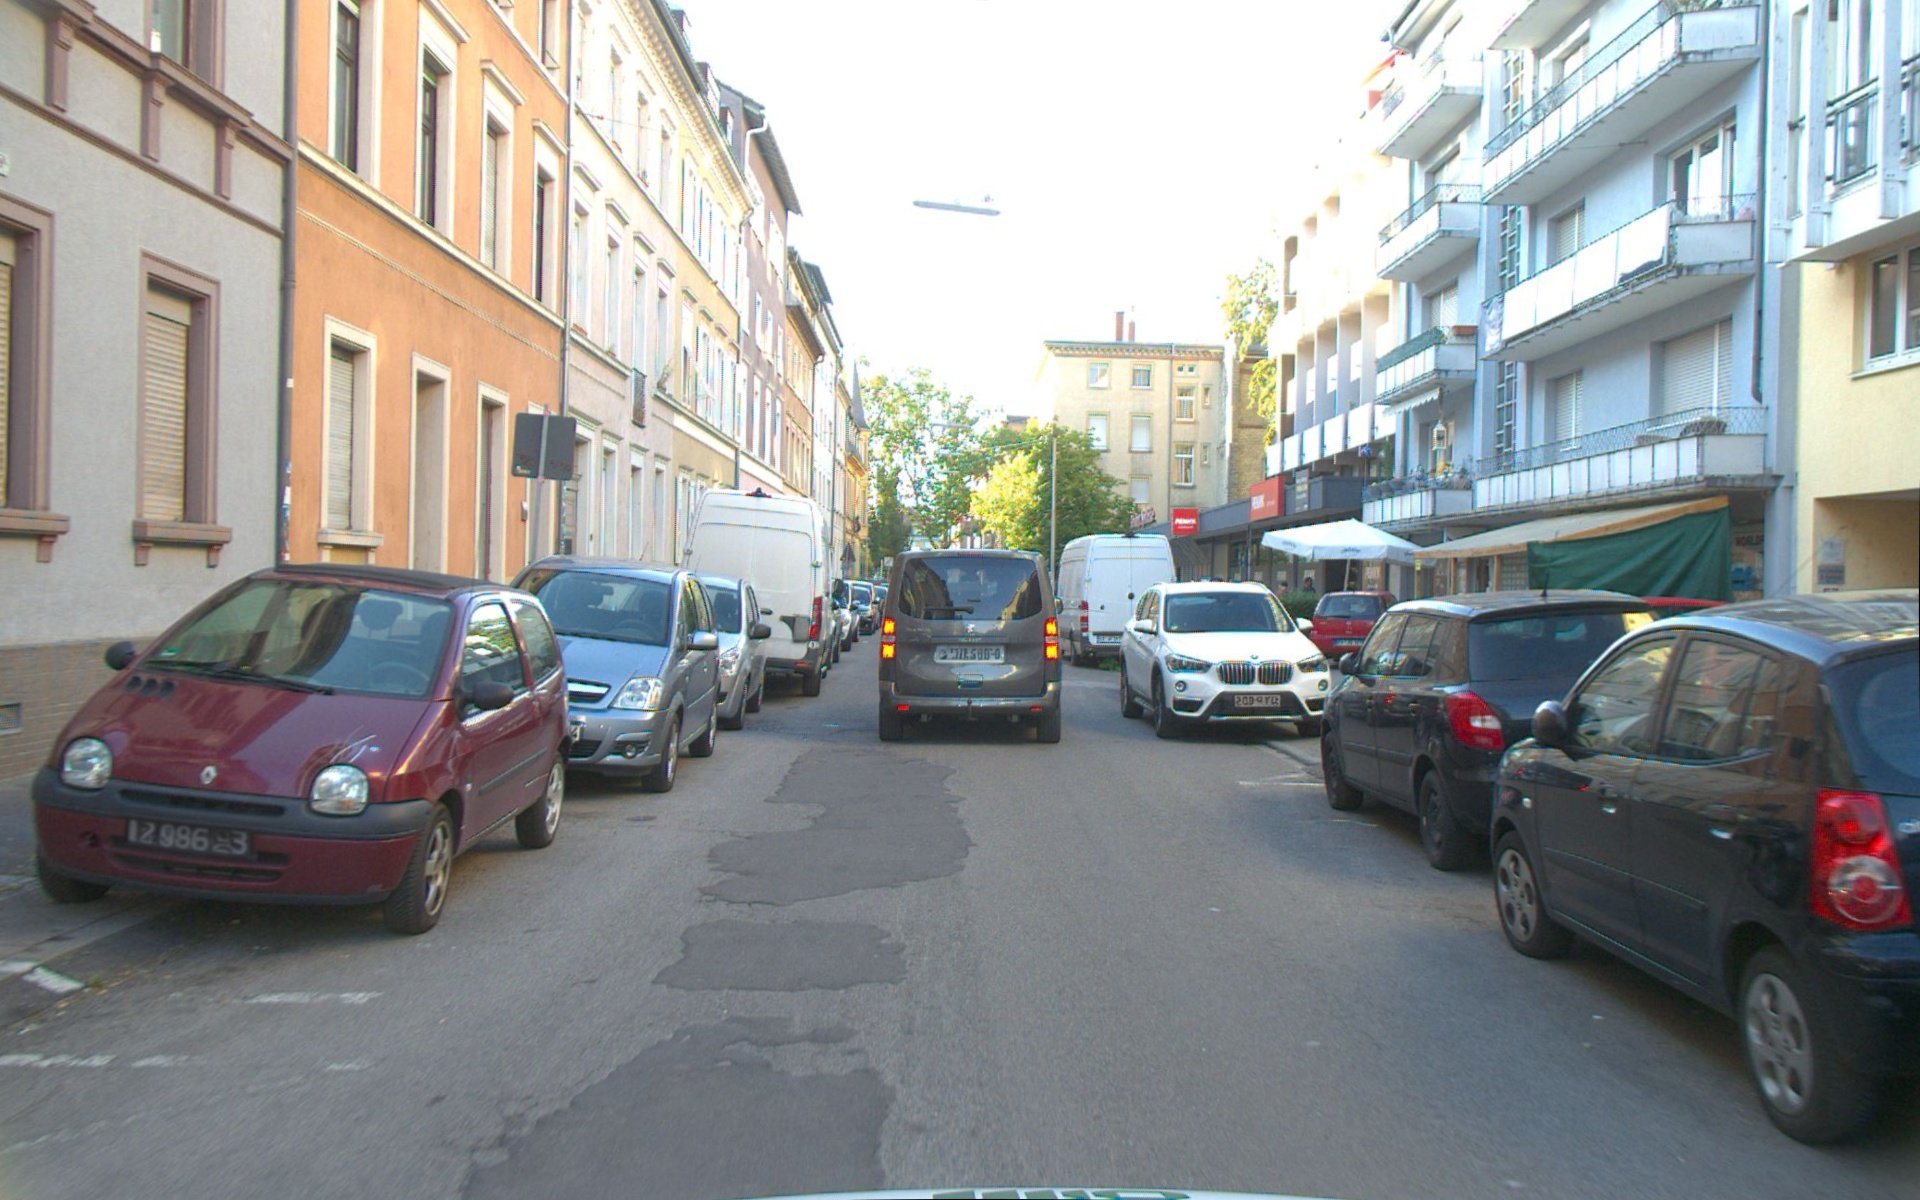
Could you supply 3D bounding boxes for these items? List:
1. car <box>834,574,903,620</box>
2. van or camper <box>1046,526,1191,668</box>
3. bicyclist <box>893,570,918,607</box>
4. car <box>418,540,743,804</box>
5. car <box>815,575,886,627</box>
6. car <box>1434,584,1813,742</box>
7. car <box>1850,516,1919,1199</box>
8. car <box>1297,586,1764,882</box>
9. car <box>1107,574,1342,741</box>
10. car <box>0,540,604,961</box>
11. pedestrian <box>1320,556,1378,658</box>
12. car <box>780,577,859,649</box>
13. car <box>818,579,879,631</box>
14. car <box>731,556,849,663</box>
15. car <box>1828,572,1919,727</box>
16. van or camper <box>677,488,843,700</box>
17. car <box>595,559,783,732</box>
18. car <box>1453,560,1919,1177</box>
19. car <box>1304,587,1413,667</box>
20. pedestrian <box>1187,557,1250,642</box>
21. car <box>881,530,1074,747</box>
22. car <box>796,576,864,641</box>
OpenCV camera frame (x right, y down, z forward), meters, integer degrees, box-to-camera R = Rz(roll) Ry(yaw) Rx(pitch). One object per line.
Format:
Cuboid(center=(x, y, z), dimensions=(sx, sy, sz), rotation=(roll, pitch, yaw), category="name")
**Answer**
Cuboid(center=(-3.355, -0.119, 61.638), dimensions=(1.952, 1.587, 4.587), rotation=(2, 1, 4), category="car")
Cuboid(center=(3.167, -0.102, 34.815), dimensions=(2.057, 2.647, 7.509), rotation=(0, 1, -2), category="van or camper")
Cuboid(center=(-2.374, -0.493, 72.054), dimensions=(1.013, 1.605, 0.833), rotation=(0, 0, 2), category="bicyclist")
Cuboid(center=(-2.824, 0.460, 13.164), dimensions=(1.677, 1.672, 3.978), rotation=(4, 1, -2), category="car")
Cuboid(center=(-3.641, 0.001, 55.733), dimensions=(1.952, 1.633, 4.586), rotation=(2, 1, 1), category="car")
Cuboid(center=(7.865, 0.718, 19.826), dimensions=(3.817, 1.635, 1.694), rotation=(3, 0, -2), category="car")
Cuboid(center=(2.949, 0.728, 1.666), dimensions=(1.713, 1.712, 4.526), rotation=(2, 1, 1), category="car")
Cuboid(center=(3.417, 0.688, 10.746), dimensions=(1.587, 1.512, 4.124), rotation=(-1, 1, 0), category="car")
Cuboid(center=(2.868, 0.557, 18.906), dimensions=(1.688, 1.640, 4.586), rotation=(1, 0, -3), category="car")
Cuboid(center=(-2.886, 0.556, 7.935), dimensions=(1.624, 1.473, 3.285), rotation=(5, 1, -2), category="car")
Cuboid(center=(8.457, 0.144, 35.954), dimensions=(0.859, 2.182, 0.952), rotation=(1, 0, -17), category="pedestrian")
Cuboid(center=(-3.257, 0.259, 38.393), dimensions=(1.677, 1.523, 3.852), rotation=(2, 1, -5), category="car")
Cuboid(center=(-3.410, 0.127, 50.825), dimensions=(1.753, 1.422, 4.464), rotation=(2, 1, -4), category="car")
Cuboid(center=(-3.093, 0.135, 30.823), dimensions=(1.826, 1.781, 4.292), rotation=(2, 1, -2), category="car")
Cuboid(center=(12.416, 0.564, 18.834), dimensions=(4.027, 1.688, 1.998), rotation=(1, 1, -5), category="car")
Cuboid(center=(-2.792, -0.122, 24.629), dimensions=(1.910, 2.695, 7.138), rotation=(0, 1, -3), category="van or camper")
Cuboid(center=(-2.970, 0.442, 18.761), dimensions=(1.558, 1.715, 3.652), rotation=(2, 1, -1), category="car")
Cuboid(center=(3.142, 0.694, 6.093), dimensions=(1.588, 1.585, 3.695), rotation=(2, 1, 1), category="car")
Cuboid(center=(7.751, 0.475, 32.012), dimensions=(1.567, 1.440, 3.228), rotation=(1, 1, 22), category="car")
Cuboid(center=(4.945, -0.015, 31.625), dimensions=(0.859, 1.583, 0.869), rotation=(-1, 1, -23), category="pedestrian")
Cuboid(center=(0.130, 0.334, 17.716), dimensions=(1.820, 2.049, 3.999), rotation=(0, 1, -1), category="car")
Cuboid(center=(-3.264, 0.192, 41.942), dimensions=(1.357, 1.558, 2.750), rotation=(2, 1, 2), category="car")
